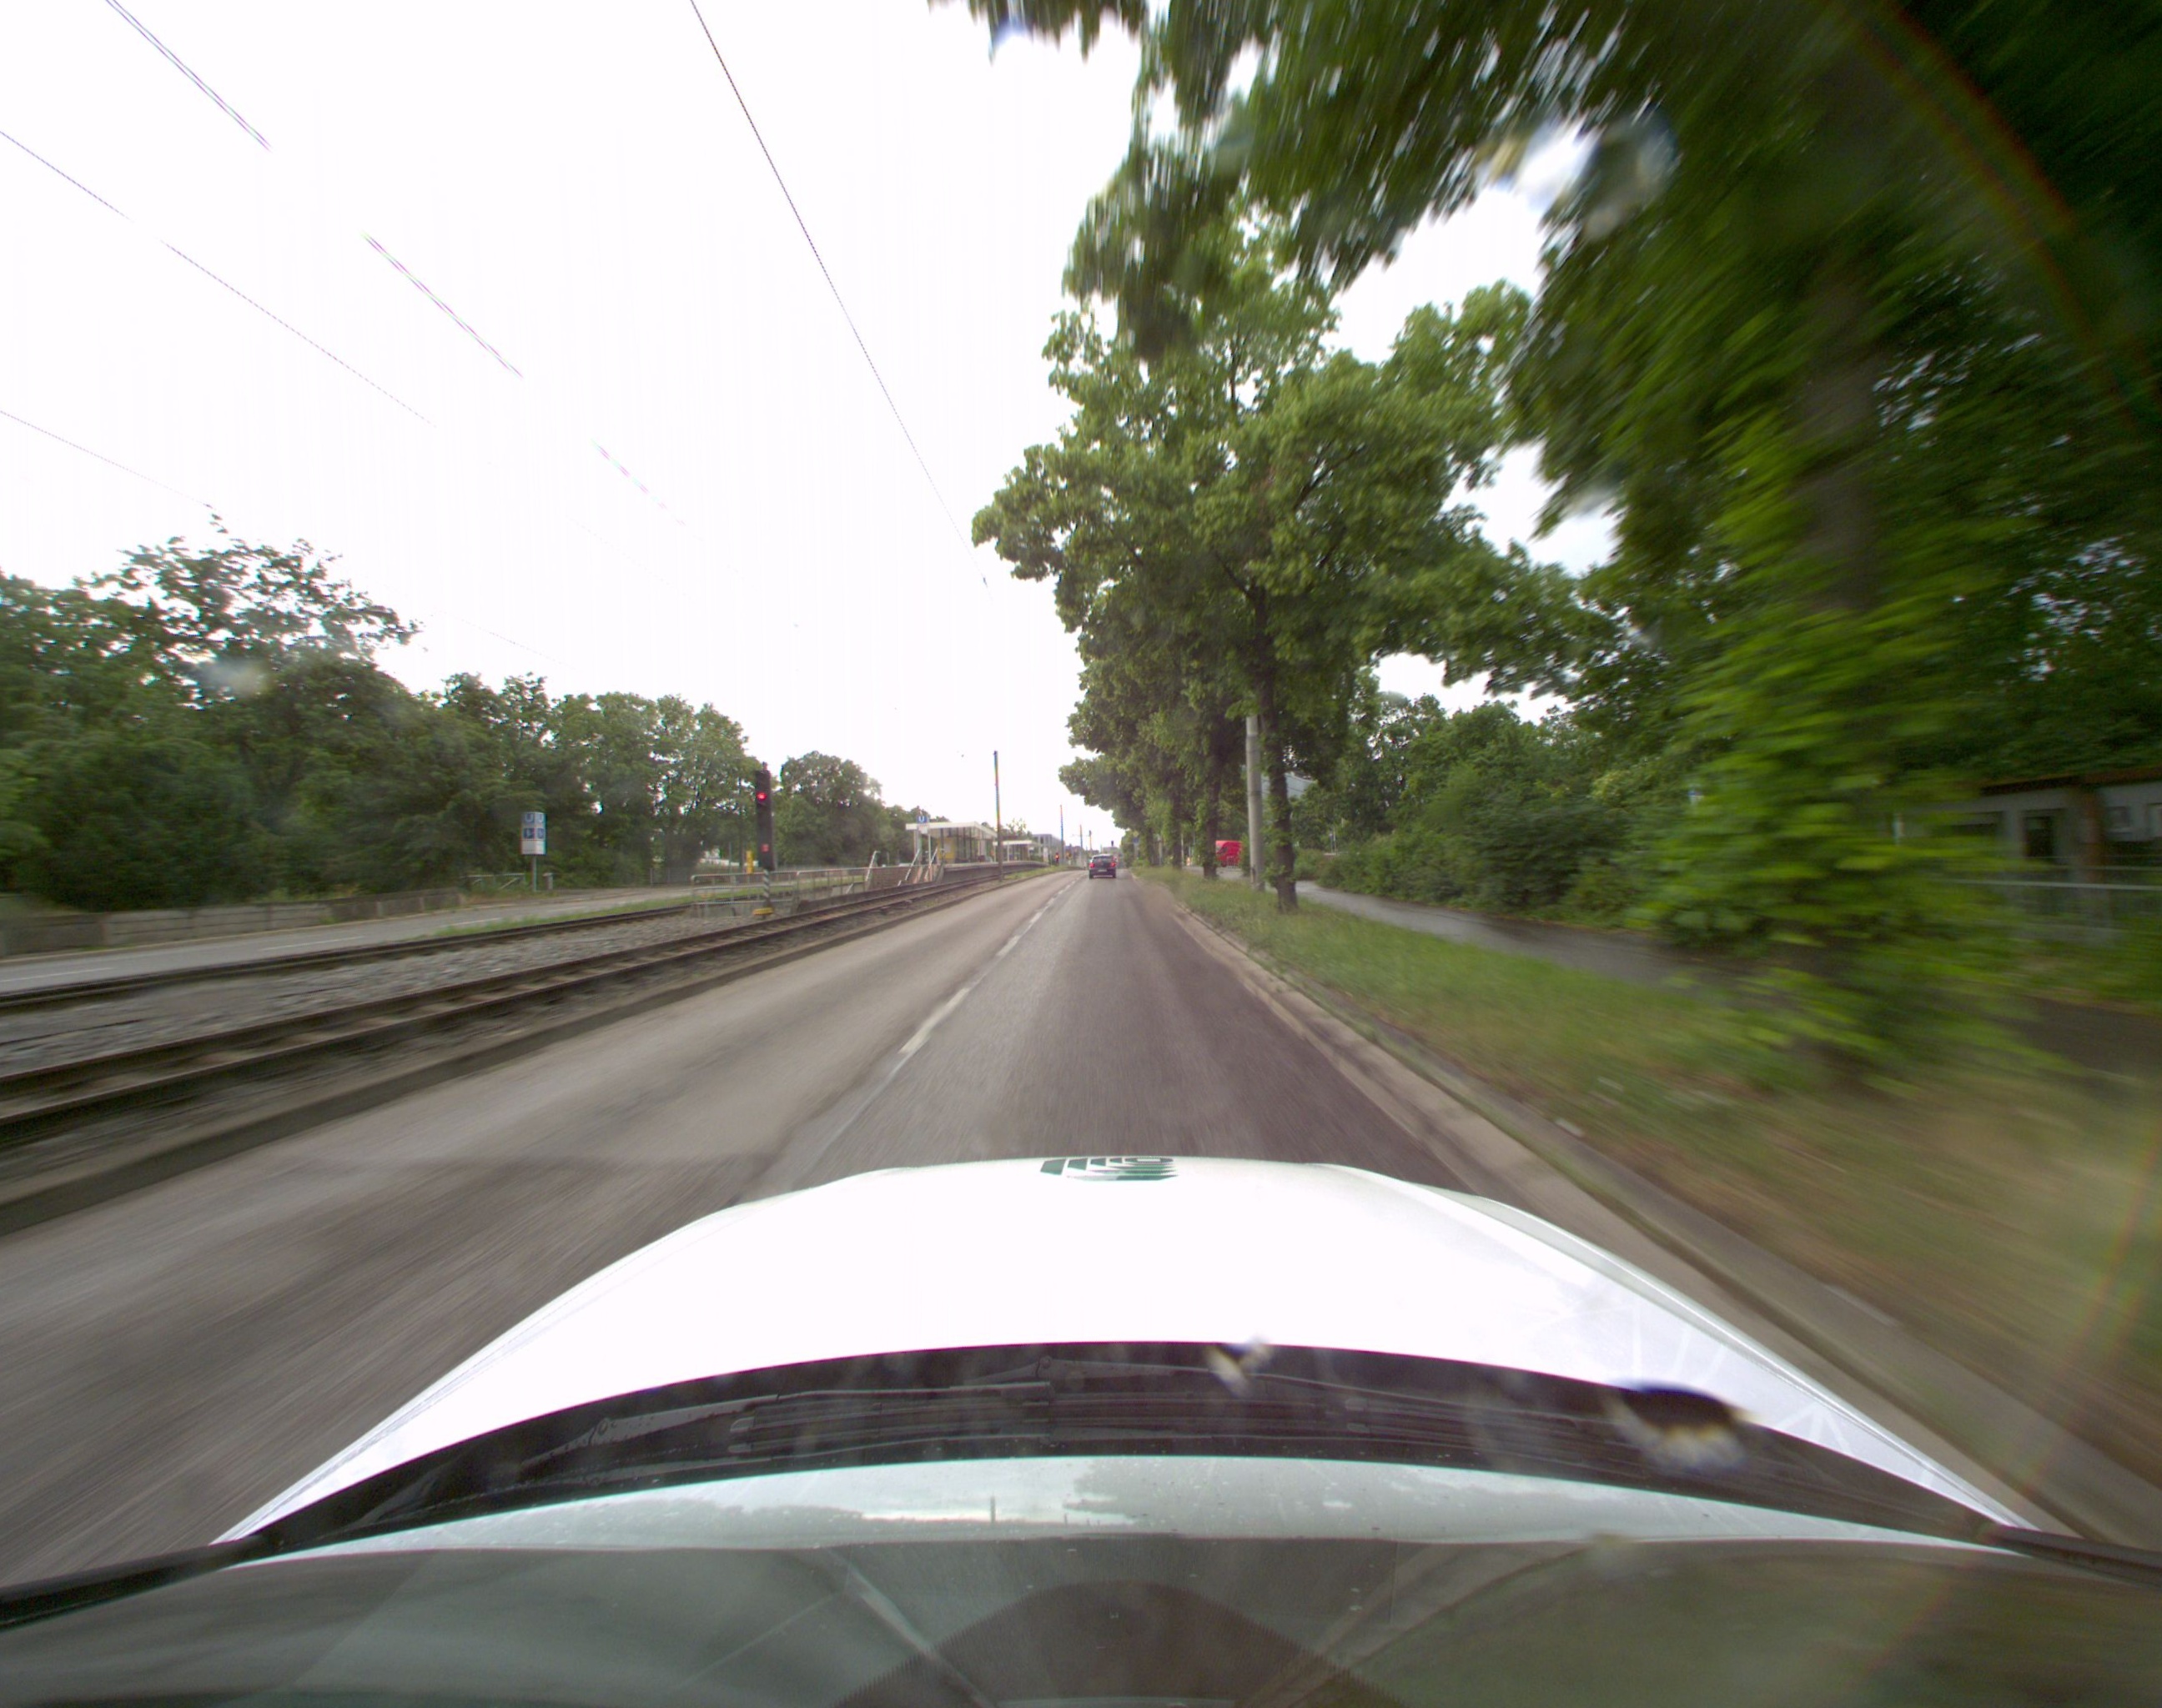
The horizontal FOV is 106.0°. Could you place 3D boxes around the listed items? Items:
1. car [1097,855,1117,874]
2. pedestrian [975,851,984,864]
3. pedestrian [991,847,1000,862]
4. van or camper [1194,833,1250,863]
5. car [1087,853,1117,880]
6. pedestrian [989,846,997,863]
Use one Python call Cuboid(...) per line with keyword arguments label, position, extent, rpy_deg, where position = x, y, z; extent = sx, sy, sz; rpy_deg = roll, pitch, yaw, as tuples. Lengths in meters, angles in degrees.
Cuboid(label="car", position=(2.389, 0.923, 73.842), extent=(1.681, 1.517, 4.002), rpy_deg=(-2, 0, 2))
Cuboid(label="pedestrian", position=(-9.187, 0.312, 73.653), extent=(0.707, 1.225, 0.620), rpy_deg=(-2, 0, 2))
Cuboid(label="pedestrian", position=(-9.604, 0.055, 91.558), extent=(0.797, 1.647, 0.913), rpy_deg=(-1, 1, -19))
Cuboid(label="van or camper", position=(12.323, -0.513, 70.968), extent=(2.016, 2.406, 5.423), rpy_deg=(2, 0, 45))
Cuboid(label="car", position=(1.303, 0.742, 50.952), extent=(1.720, 1.540, 4.001), rpy_deg=(-2, 0, 1))
Cuboid(label="pedestrian", position=(-9.941, 0.006, 92.332), extent=(0.745, 1.909, 0.837), rpy_deg=(-1, 1, -18))
